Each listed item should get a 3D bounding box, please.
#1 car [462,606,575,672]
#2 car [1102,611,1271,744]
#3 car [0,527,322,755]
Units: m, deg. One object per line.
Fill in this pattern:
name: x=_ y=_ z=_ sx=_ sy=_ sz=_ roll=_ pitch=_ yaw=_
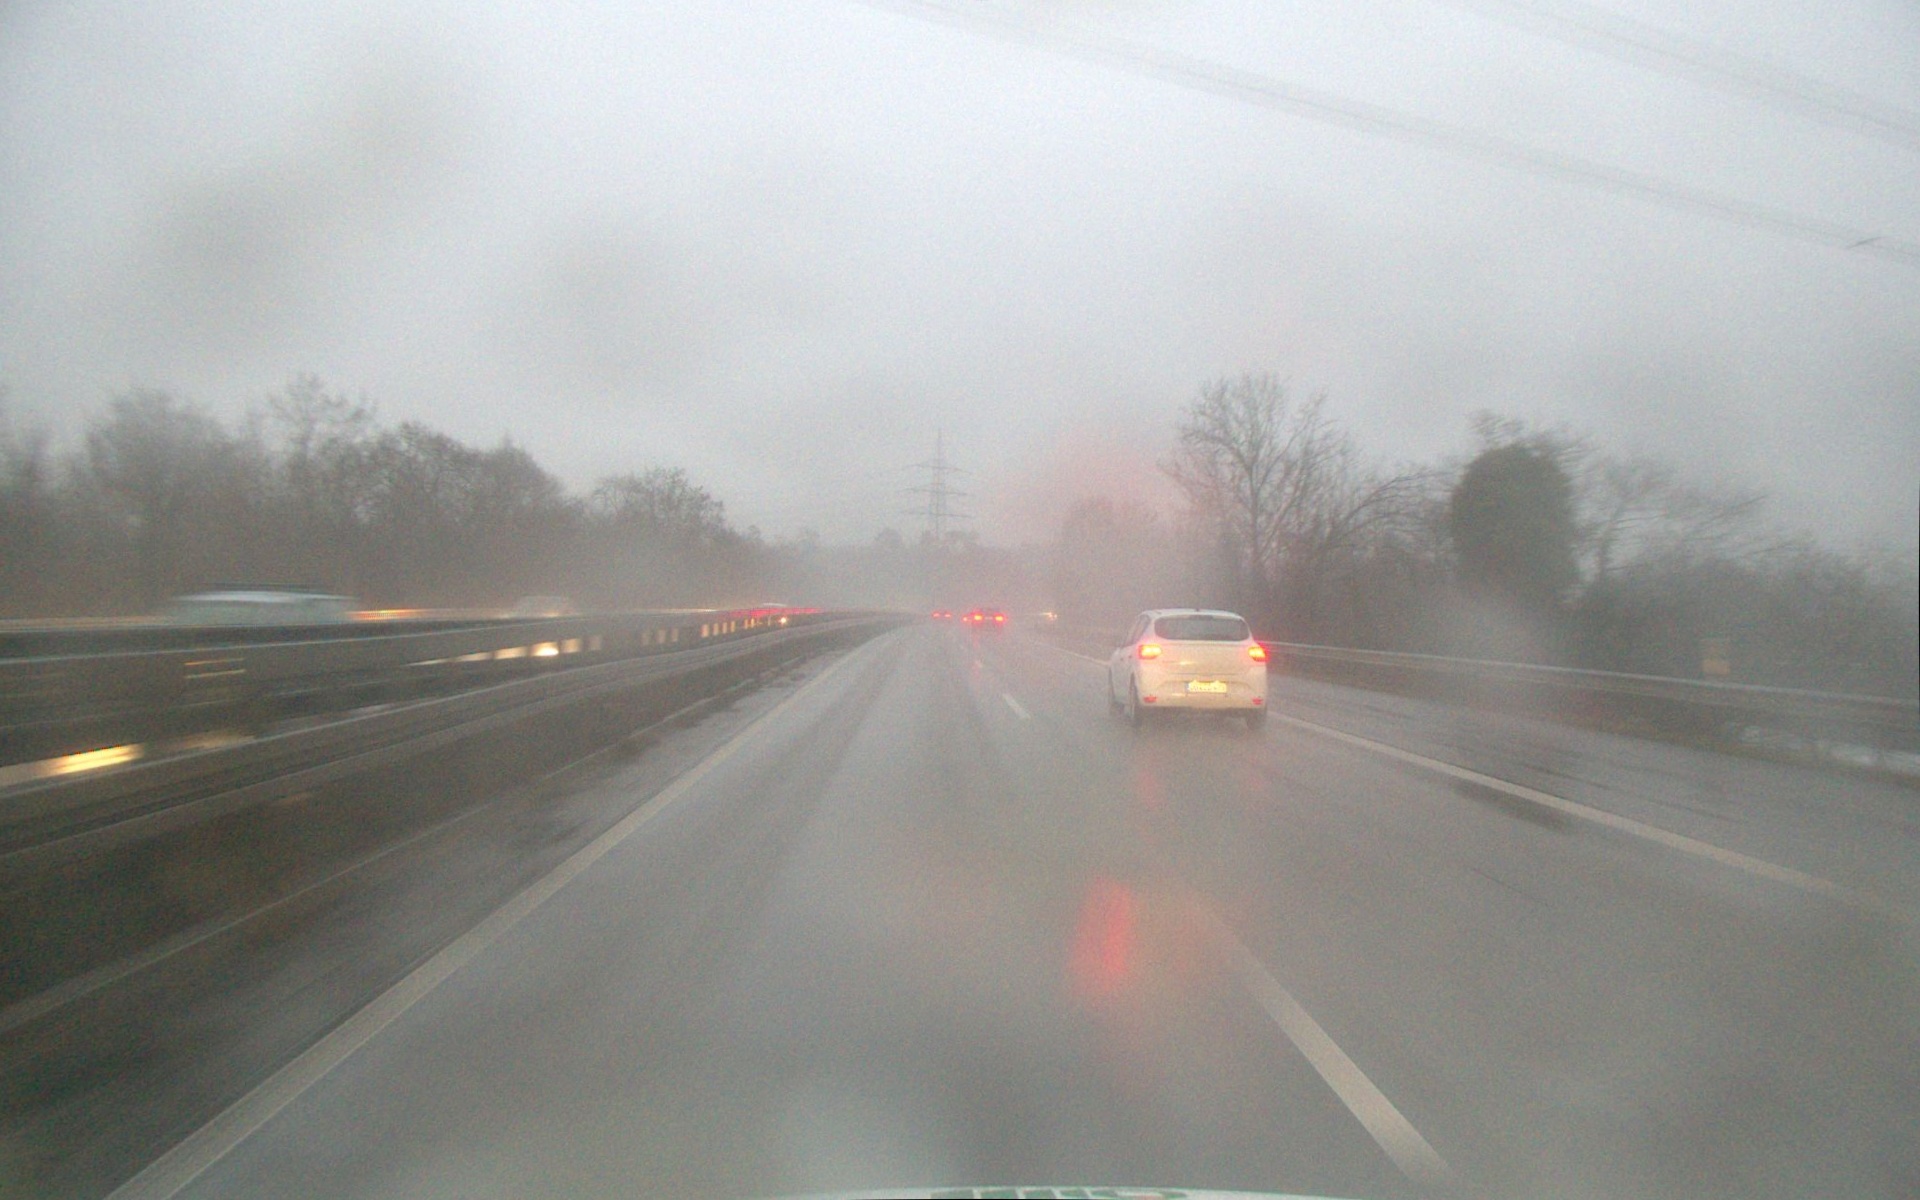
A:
car: x=-13.056 y=1.102 z=49.237 sx=2.120 sy=1.823 sz=4.808 roll=0 pitch=0 yaw=-1
car: x=3.037 y=0.995 z=22.876 sx=1.808 sy=1.664 sz=3.767 roll=0 pitch=0 yaw=0
car: x=-8.259 y=0.365 z=16.912 sx=1.953 sy=2.049 sz=3.999 roll=0 pitch=0 yaw=-1
